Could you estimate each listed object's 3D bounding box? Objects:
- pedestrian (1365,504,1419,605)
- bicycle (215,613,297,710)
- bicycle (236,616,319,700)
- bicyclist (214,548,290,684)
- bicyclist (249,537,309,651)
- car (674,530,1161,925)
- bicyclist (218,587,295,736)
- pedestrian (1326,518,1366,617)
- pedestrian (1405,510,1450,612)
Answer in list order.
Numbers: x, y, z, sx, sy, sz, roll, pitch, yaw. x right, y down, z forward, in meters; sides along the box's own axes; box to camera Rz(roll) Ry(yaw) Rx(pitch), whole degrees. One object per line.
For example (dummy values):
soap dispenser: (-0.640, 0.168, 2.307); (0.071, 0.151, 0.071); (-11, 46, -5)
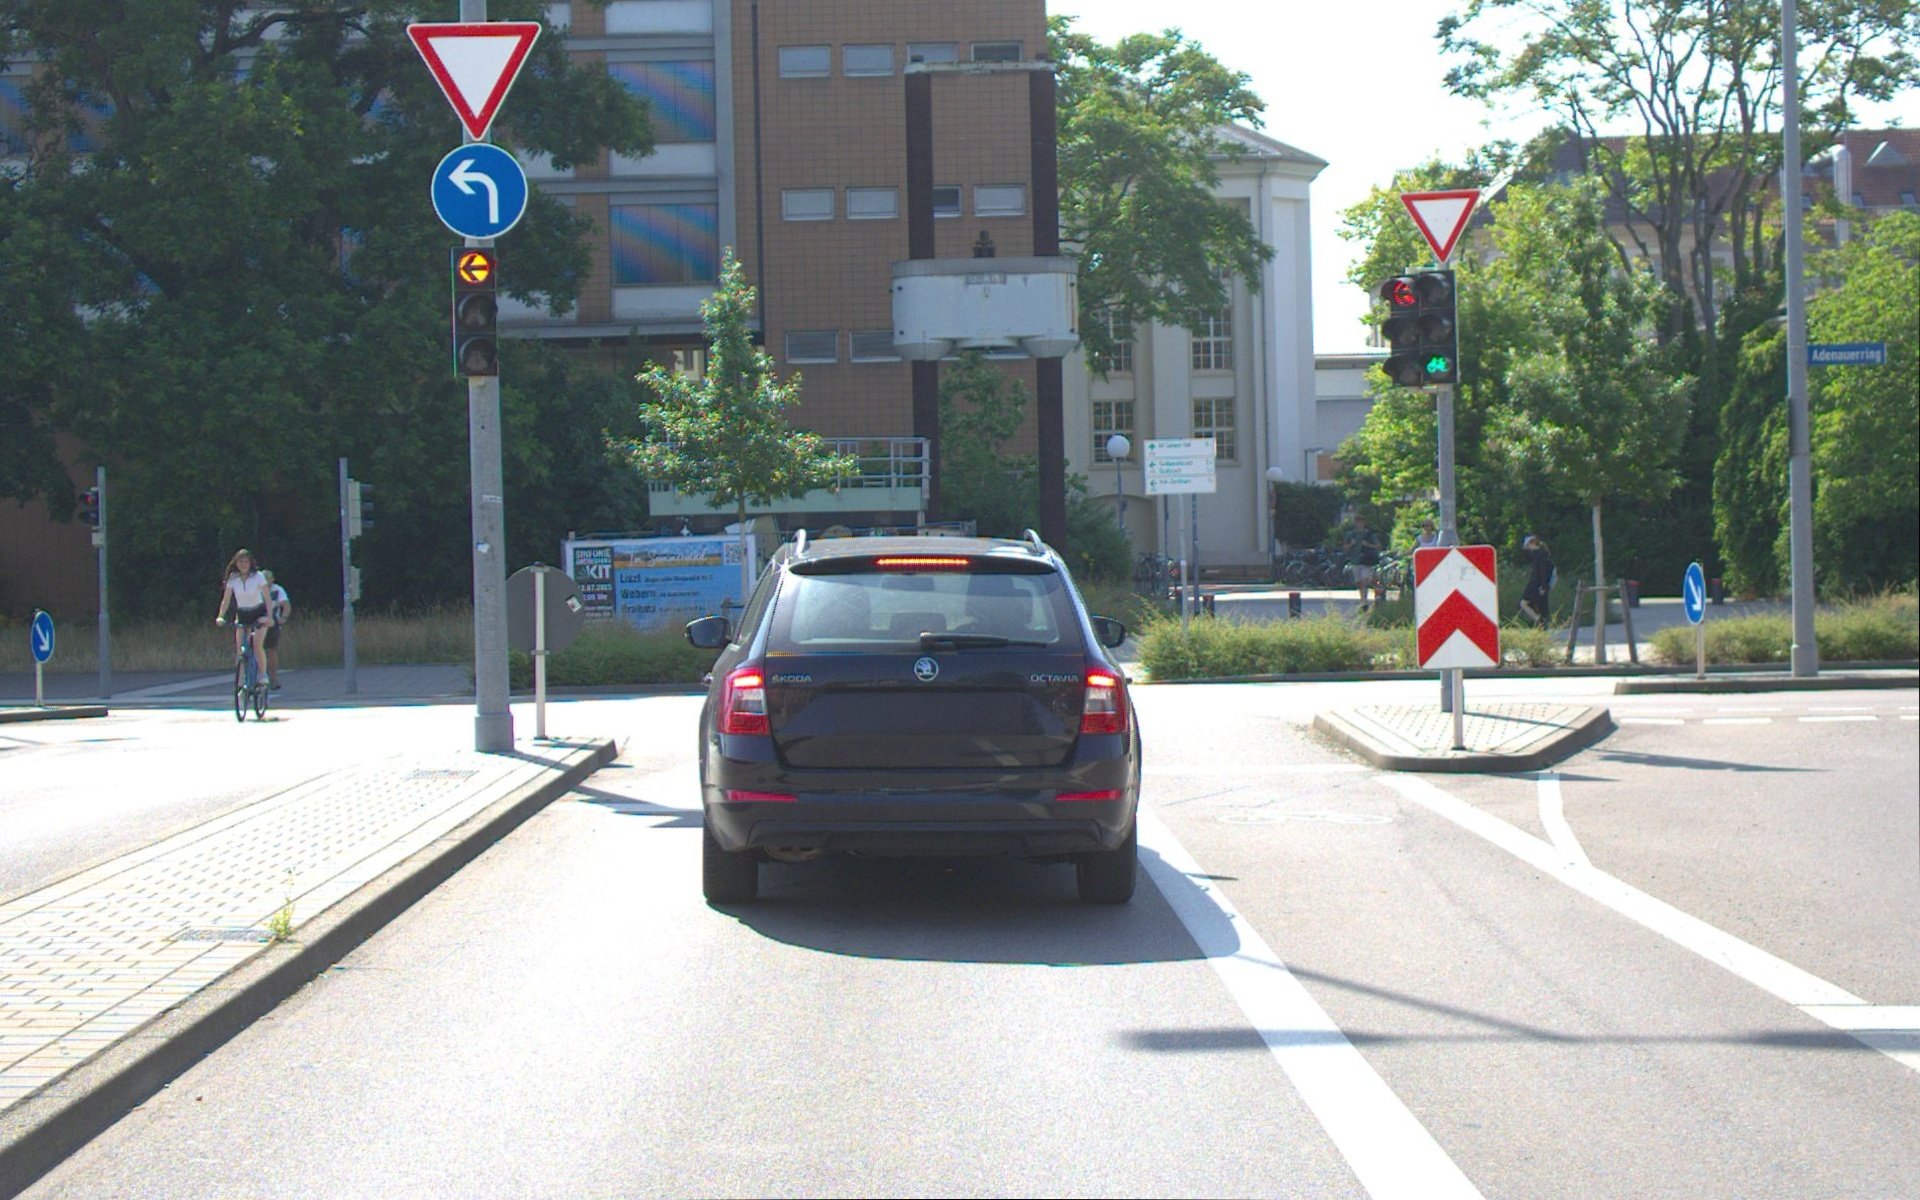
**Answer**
pedestrian: (8.247, -0.864, 65.584); (0.795, 1.868, 0.638); (-2, 2, 22)
bicycle: (-7.753, 0.667, 37.917); (0.618, 0.957, 1.968); (-4, 1, -5)
bicycle: (-8.695, 0.726, 43.850); (0.704, 0.974, 2.031); (-2, 1, -2)
bicyclist: (-7.772, 0.165, 37.755); (0.618, 1.438, 0.921); (-4, 1, -5)
bicyclist: (-8.667, -0.075, 43.774); (0.539, 1.412, 1.030); (-3, 0, -2)
car: (-0.163, 0.432, 14.506); (1.780, 1.438, 3.818); (0, 1, 0)
bicyclist: (-7.749, 0.667, 37.874); (0.618, 1.576, 1.014); (-4, 1, -5)
pedestrian: (7.374, -0.624, 65.648); (0.597, 1.868, 0.638); (0, 1, 23)
pedestrian: (8.761, -0.732, 64.470); (0.637, 1.868, 0.796); (-3, 1, -1)
